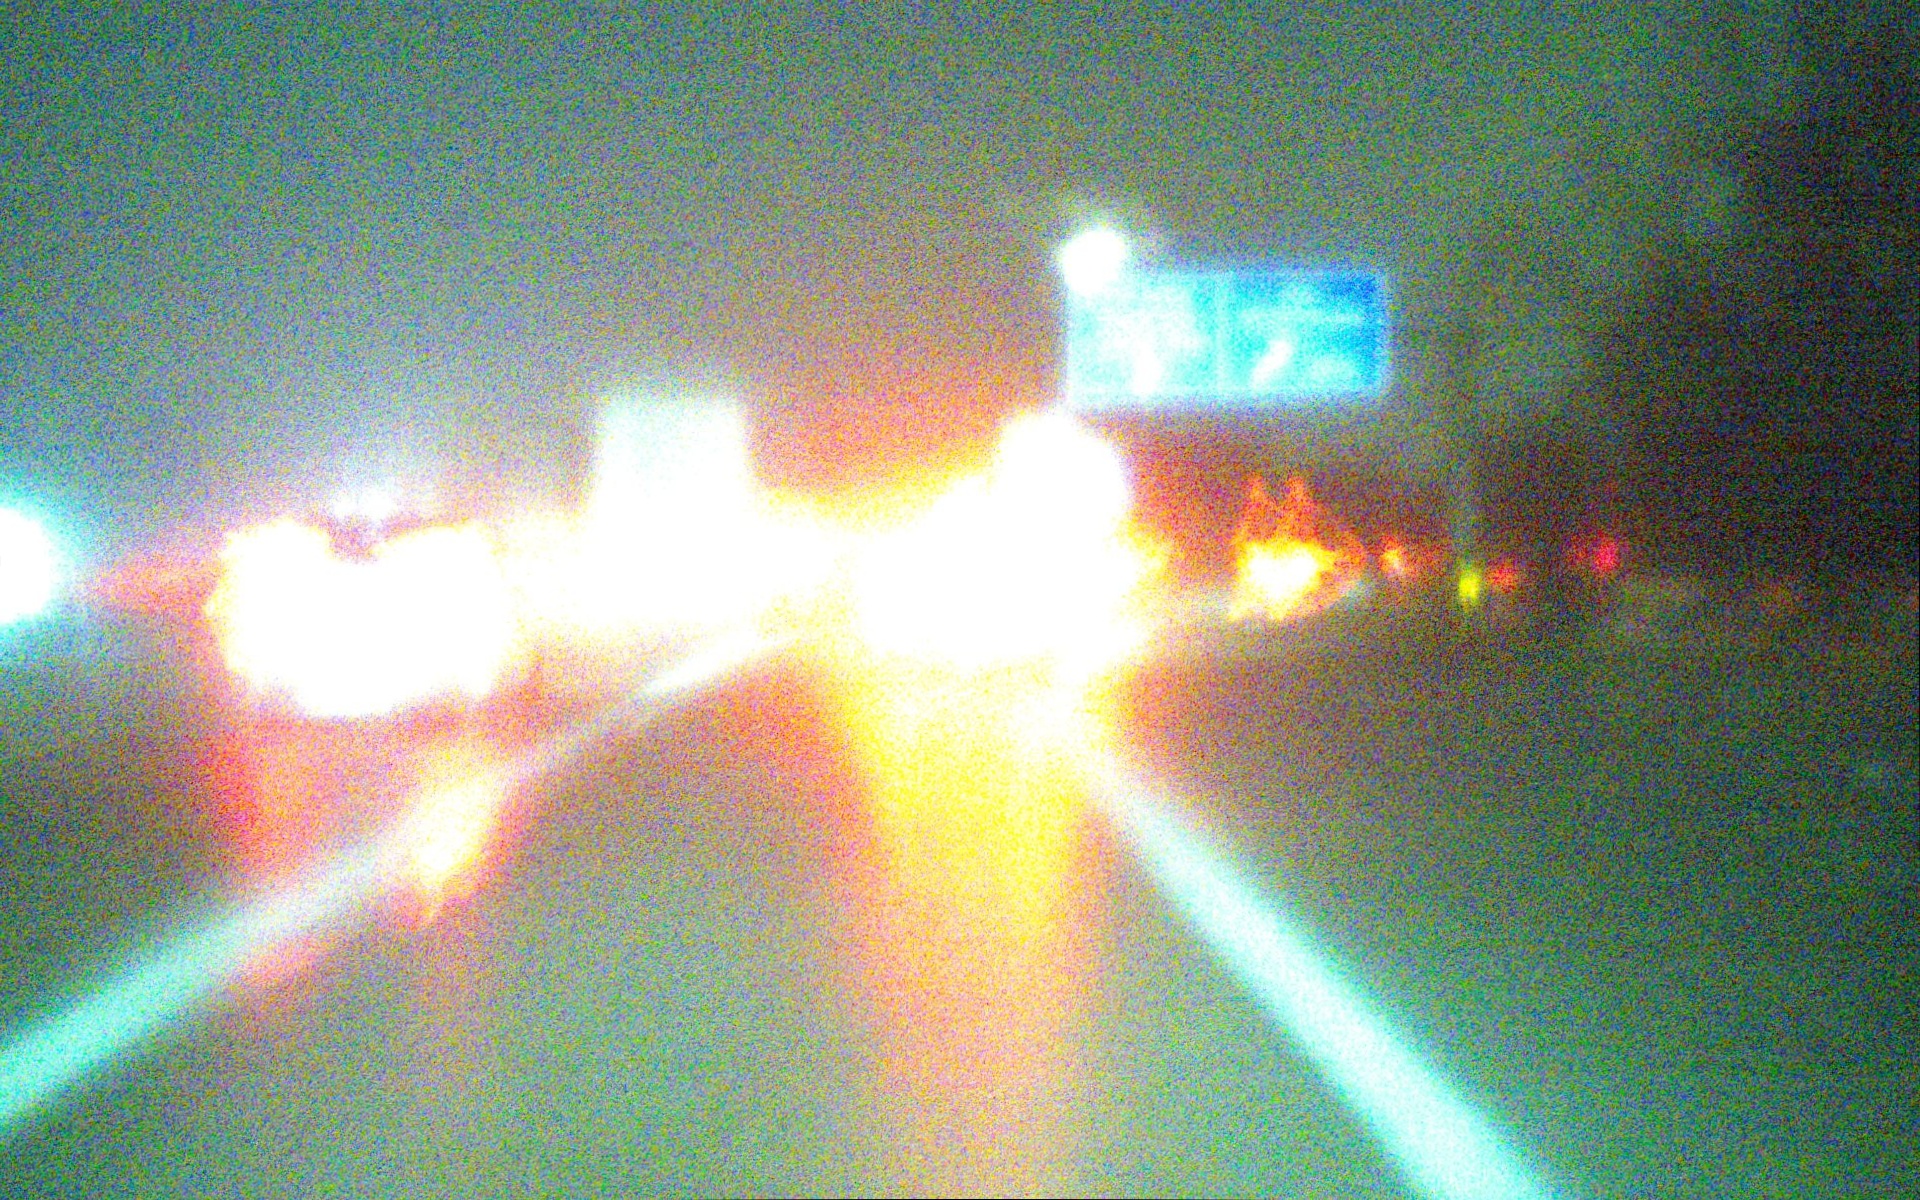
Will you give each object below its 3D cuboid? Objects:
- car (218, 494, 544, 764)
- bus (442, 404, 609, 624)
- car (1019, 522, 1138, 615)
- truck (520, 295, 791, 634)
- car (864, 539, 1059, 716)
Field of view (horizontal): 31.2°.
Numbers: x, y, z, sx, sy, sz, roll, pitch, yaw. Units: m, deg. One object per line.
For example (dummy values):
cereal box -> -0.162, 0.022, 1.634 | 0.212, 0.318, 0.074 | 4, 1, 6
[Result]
car -> -4.667, 0.189, 28.378 | 2.125, 2.007, 4.646 | 1, 1, -3
bus -> -9.585, -1.865, 76.866 | 3.096, 4.492, 10.915 | 1, 1, -4
car -> 2.391, -0.659, 70.219 | 1.993, 1.801, 4.001 | 1, 1, -4
truck -> -5.409, -2.361, 63.629 | 4.210, 5.629, 11.468 | 1, 1, -2
car -> -0.016, 0.257, 37.726 | 1.993, 1.801, 4.000 | 1, 1, -1
